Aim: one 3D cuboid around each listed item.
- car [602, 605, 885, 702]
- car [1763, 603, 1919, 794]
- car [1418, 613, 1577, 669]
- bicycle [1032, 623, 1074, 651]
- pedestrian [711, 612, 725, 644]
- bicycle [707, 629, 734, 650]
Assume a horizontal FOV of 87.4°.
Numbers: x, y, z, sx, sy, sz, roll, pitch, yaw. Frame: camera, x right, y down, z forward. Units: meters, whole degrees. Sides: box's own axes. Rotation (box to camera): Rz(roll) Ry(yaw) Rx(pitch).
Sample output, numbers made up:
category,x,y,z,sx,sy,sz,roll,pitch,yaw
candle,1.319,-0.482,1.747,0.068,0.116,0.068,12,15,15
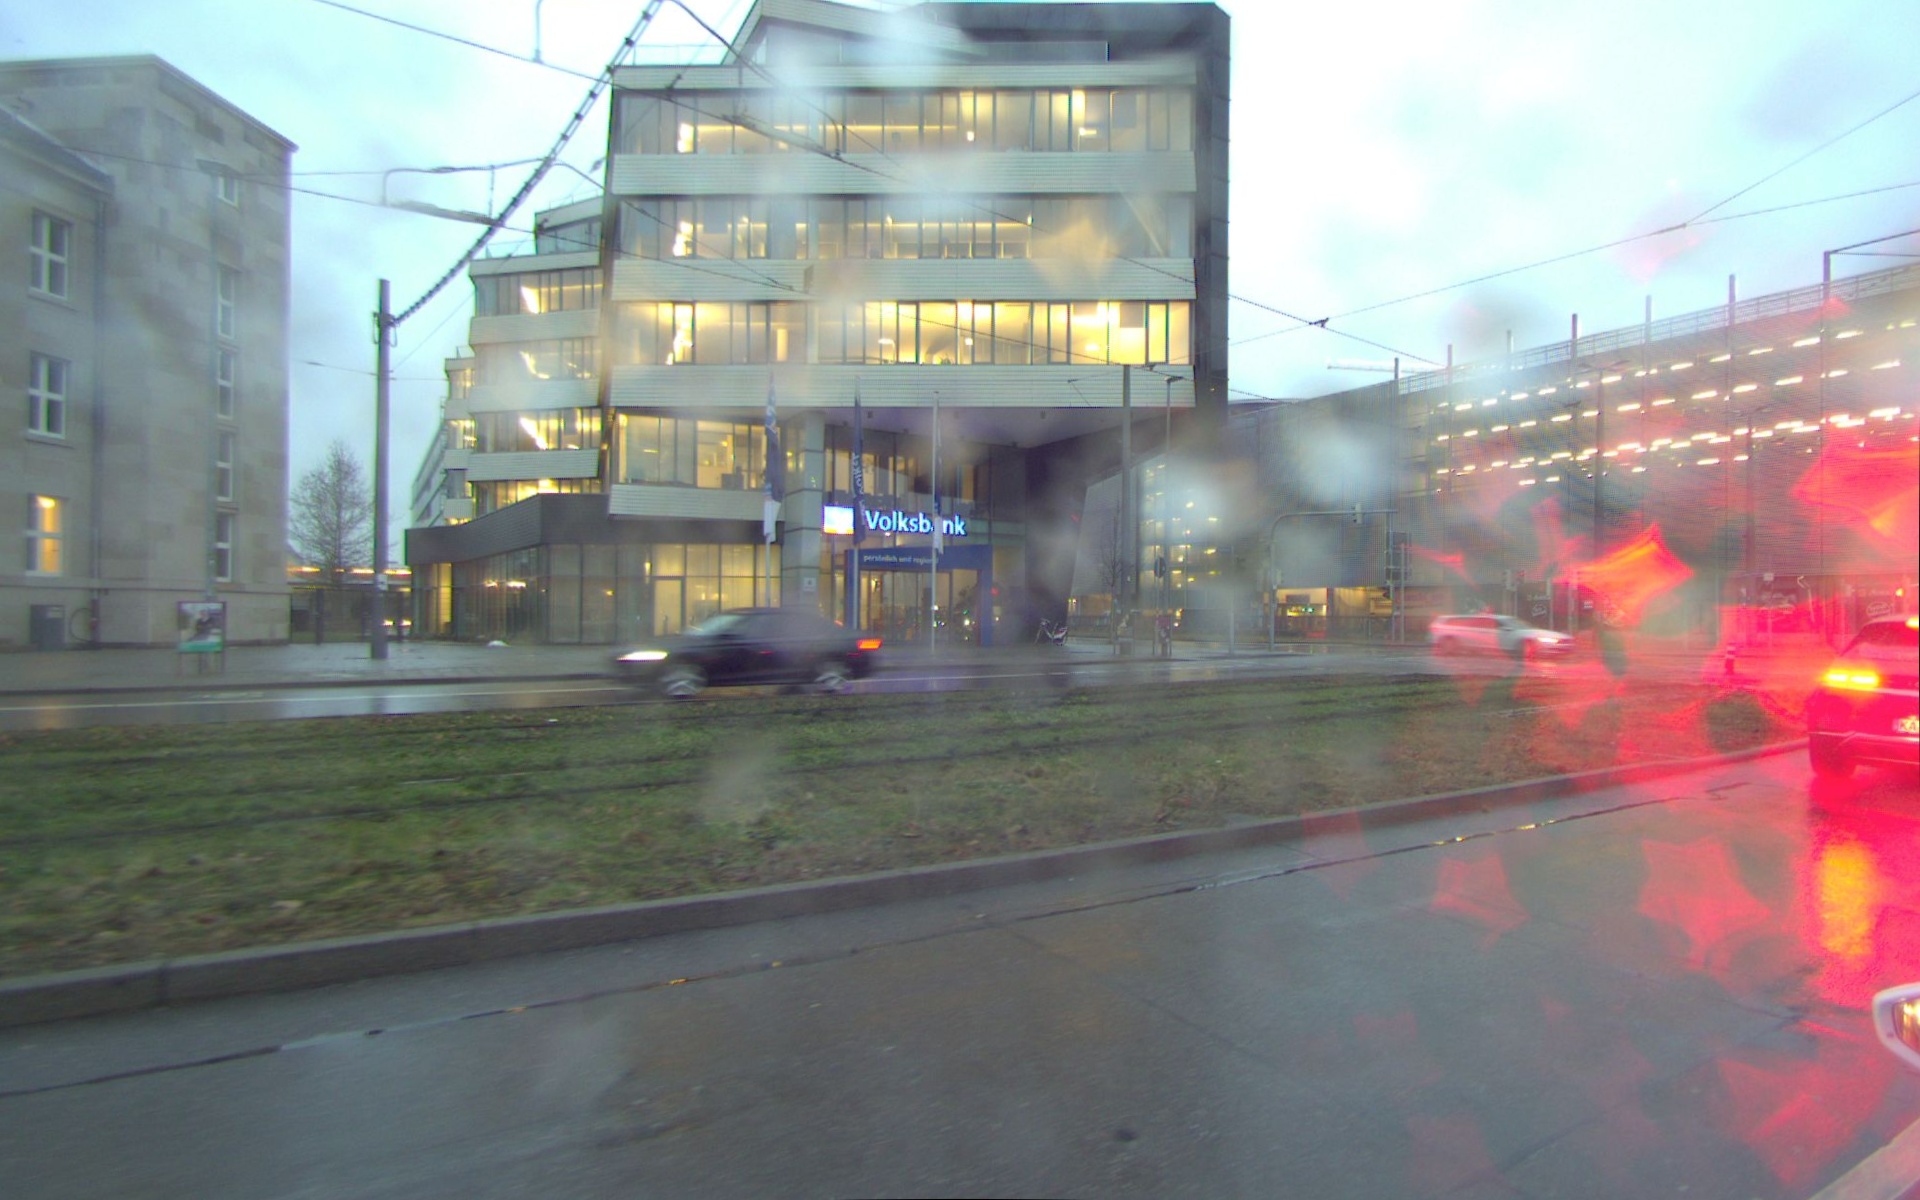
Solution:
category,x,y,z,sx,sy,sz,roll,pitch,yaw
car,-3.629,0.840,17.211,4.477,1.419,1.646,0,1,-35
car,9.552,0.867,9.705,3.959,1.595,1.742,1,-1,-34
car,18.956,1.419,35.599,1.816,1.875,4.631,2,-2,-39
bicycle,3.737,1.467,40.294,1.588,1.105,0.553,1,-1,-23
pedestrian,-8.393,0.973,34.857,0.380,1.103,0.325,0,-1,5
bicycle,-8.394,1.397,35.216,0.896,0.724,0.483,1,-1,-10
